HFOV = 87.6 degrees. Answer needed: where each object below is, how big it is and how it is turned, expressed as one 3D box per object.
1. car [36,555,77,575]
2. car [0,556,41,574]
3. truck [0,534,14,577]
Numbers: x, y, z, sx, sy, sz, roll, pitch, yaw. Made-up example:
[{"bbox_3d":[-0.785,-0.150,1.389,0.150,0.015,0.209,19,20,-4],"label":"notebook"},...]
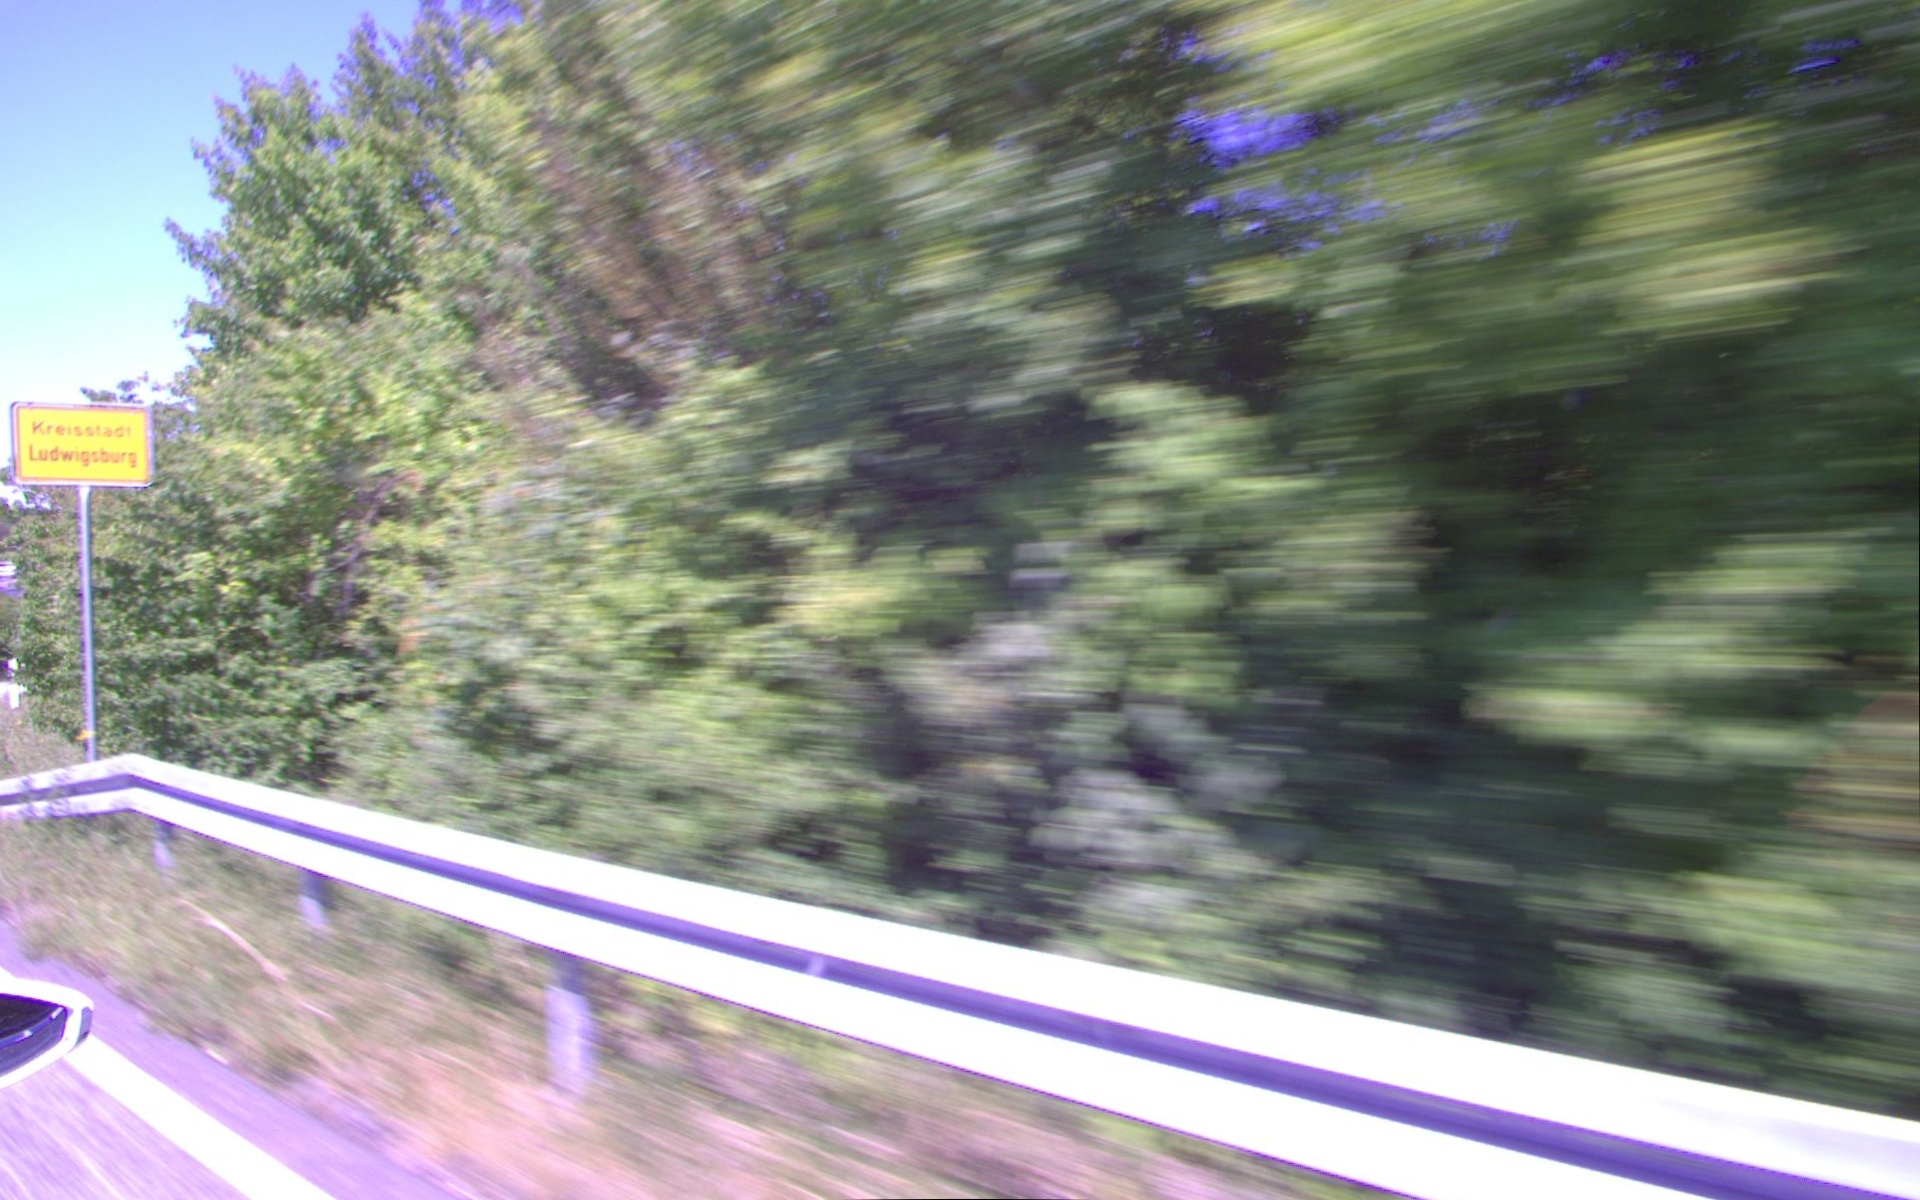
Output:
[{"bbox_3d":[-87.634,-3.348,97.185,1.970,1.639,3.983,0,-1,-27],"label":"car"},{"bbox_3d":[-84.918,-3.164,90.233,1.872,1.380,3.988,0,-1,-23],"label":"car"},{"bbox_3d":[-83.095,-3.732,83.254,2.985,3.639,8.875,-2,2,-20],"label":"truck"}]
